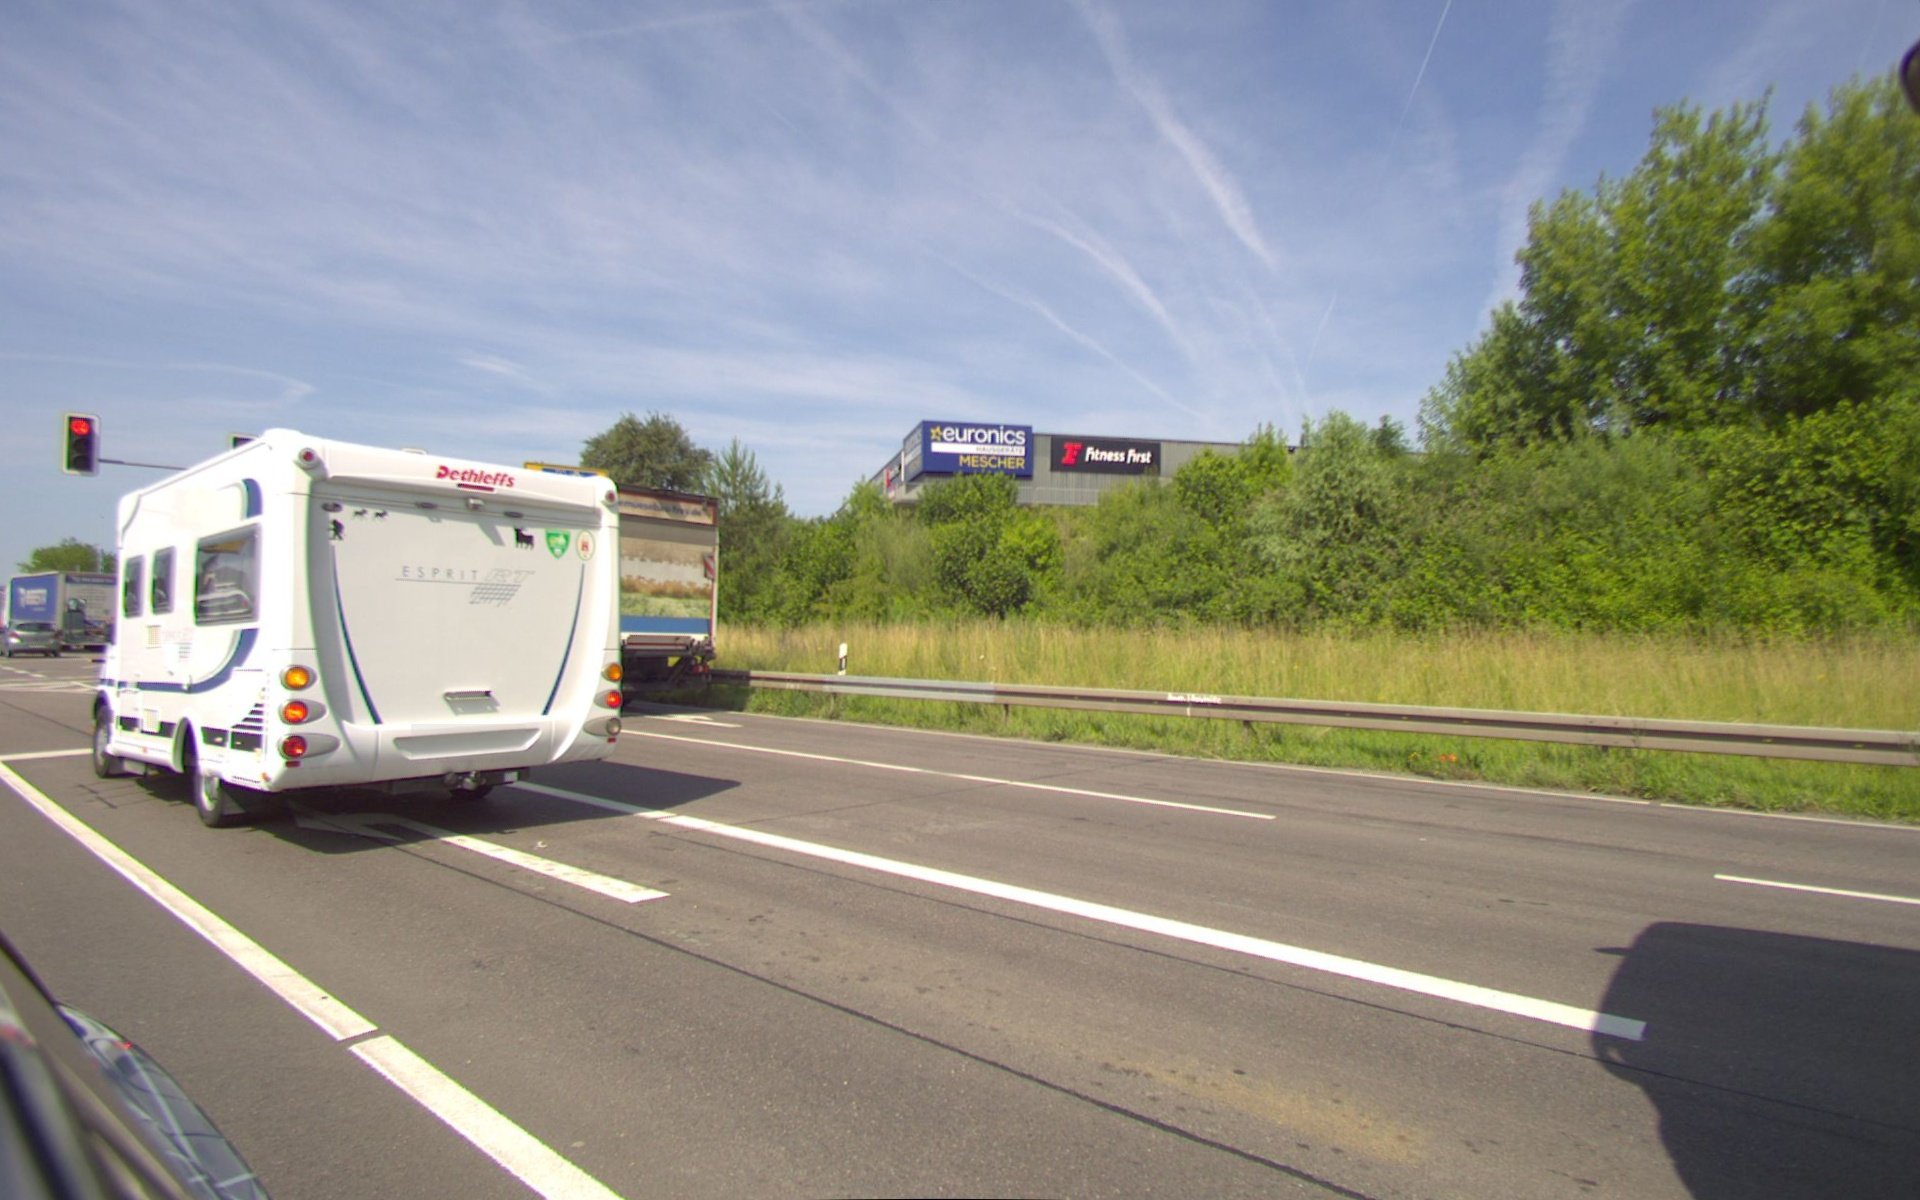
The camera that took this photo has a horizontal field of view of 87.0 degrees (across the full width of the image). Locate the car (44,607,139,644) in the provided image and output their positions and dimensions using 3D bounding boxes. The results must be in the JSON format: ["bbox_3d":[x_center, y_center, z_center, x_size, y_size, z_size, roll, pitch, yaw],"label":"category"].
[{"bbox_3d":[-71.226,2.129,83.082,2.117,2.860,5.644,-3,-4,44],"label":"car"}]

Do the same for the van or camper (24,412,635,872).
[{"bbox_3d":[-5.893,0.310,8.863,6.970,2.620,2.308,-1,-3,39],"label":"van or camper"}]

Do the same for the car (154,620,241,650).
[{"bbox_3d":[-48.576,2.203,64.610,1.905,1.638,4.796,0,1,1],"label":"car"}]

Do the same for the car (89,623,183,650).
[{"bbox_3d":[-53.334,2.316,65.631,1.871,1.486,4.704,-1,1,9],"label":"car"}]

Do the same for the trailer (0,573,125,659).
[{"bbox_3d":[-48.243,0.888,54.077,14.117,4.111,3.061,-1,-3,41],"label":"trailer"}]

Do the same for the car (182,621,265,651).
[{"bbox_3d":[-46.388,2.241,63.846,1.863,1.638,4.744,-1,1,-1],"label":"car"}]

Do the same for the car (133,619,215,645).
[{"bbox_3d":[-56.122,2.301,72.307,4.405,1.762,1.893,-1,-1,-1],"label":"car"}]

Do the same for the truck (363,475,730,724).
[{"bbox_3d":[-8.745,0.090,20.513,9.613,4.029,2.701,-1,-3,40],"label":"truck"}]

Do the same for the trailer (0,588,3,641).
[{"bbox_3d":[-81.910,1.219,83.430,13.868,4.179,2.664,-1,-3,40],"label":"trailer"}]

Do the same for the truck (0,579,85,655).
[{"bbox_3d":[-53.181,1.001,58.280,6.341,4.111,3.155,-1,-3,40],"label":"truck"}]

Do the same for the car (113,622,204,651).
[{"bbox_3d":[-50.910,2.293,64.411,1.929,1.524,4.713,-1,1,2],"label":"car"}]

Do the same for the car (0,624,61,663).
[{"bbox_3d":[-38.350,1.773,41.459,3.997,1.513,1.707,-1,-4,41],"label":"car"}]
